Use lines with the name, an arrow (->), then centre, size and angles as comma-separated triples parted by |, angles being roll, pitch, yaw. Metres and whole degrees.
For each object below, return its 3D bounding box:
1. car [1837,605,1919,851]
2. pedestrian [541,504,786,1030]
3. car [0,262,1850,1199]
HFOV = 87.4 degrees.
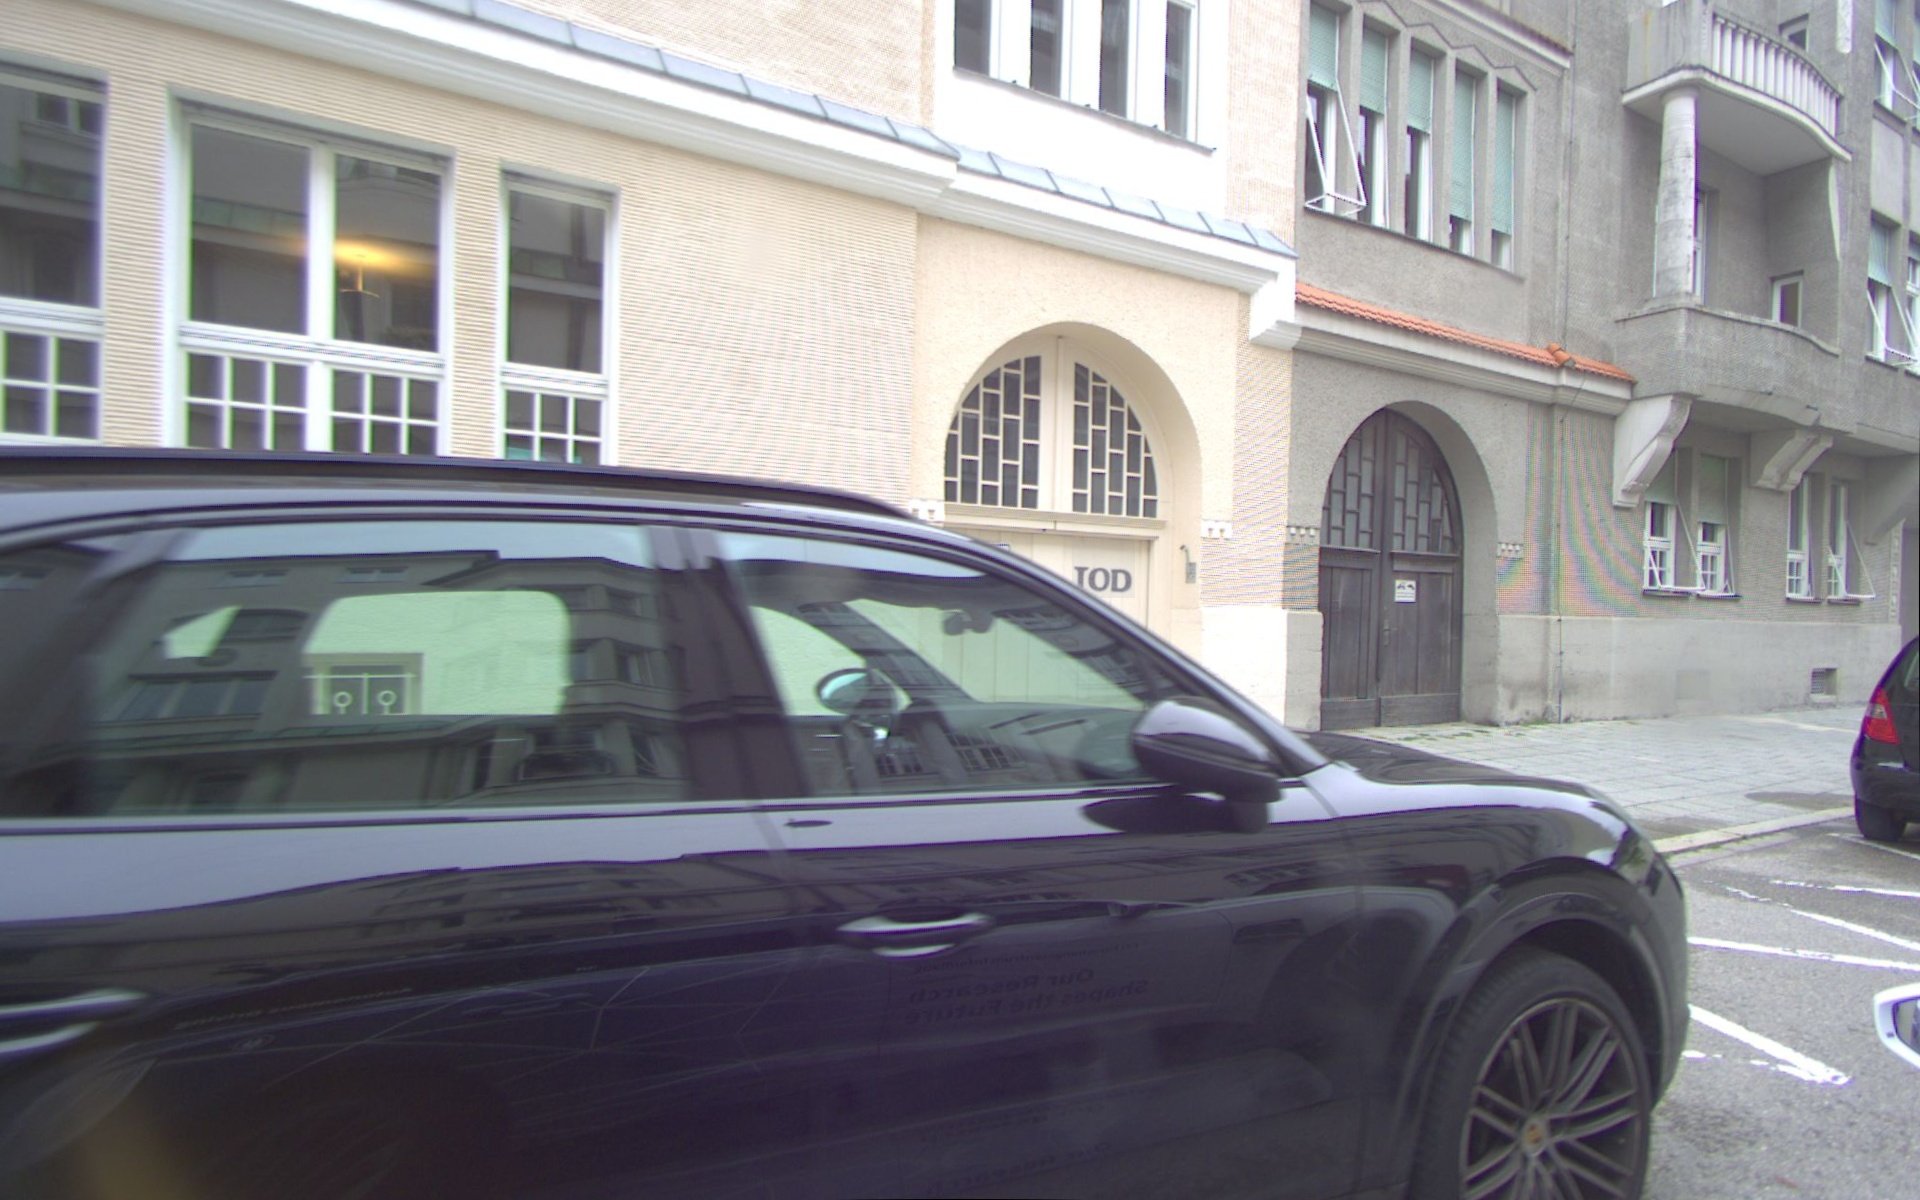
car -> 8.102, 0.896, 7.212 | 3.774, 1.593, 1.792 | 2, 0, -34
pedestrian -> -1.204, 0.580, 4.001 | 0.732, 1.813, 0.831 | 1, 0, -30
car -> -0.300, 0.540, 2.340 | 4.556, 1.681, 1.944 | 2, 0, -26
